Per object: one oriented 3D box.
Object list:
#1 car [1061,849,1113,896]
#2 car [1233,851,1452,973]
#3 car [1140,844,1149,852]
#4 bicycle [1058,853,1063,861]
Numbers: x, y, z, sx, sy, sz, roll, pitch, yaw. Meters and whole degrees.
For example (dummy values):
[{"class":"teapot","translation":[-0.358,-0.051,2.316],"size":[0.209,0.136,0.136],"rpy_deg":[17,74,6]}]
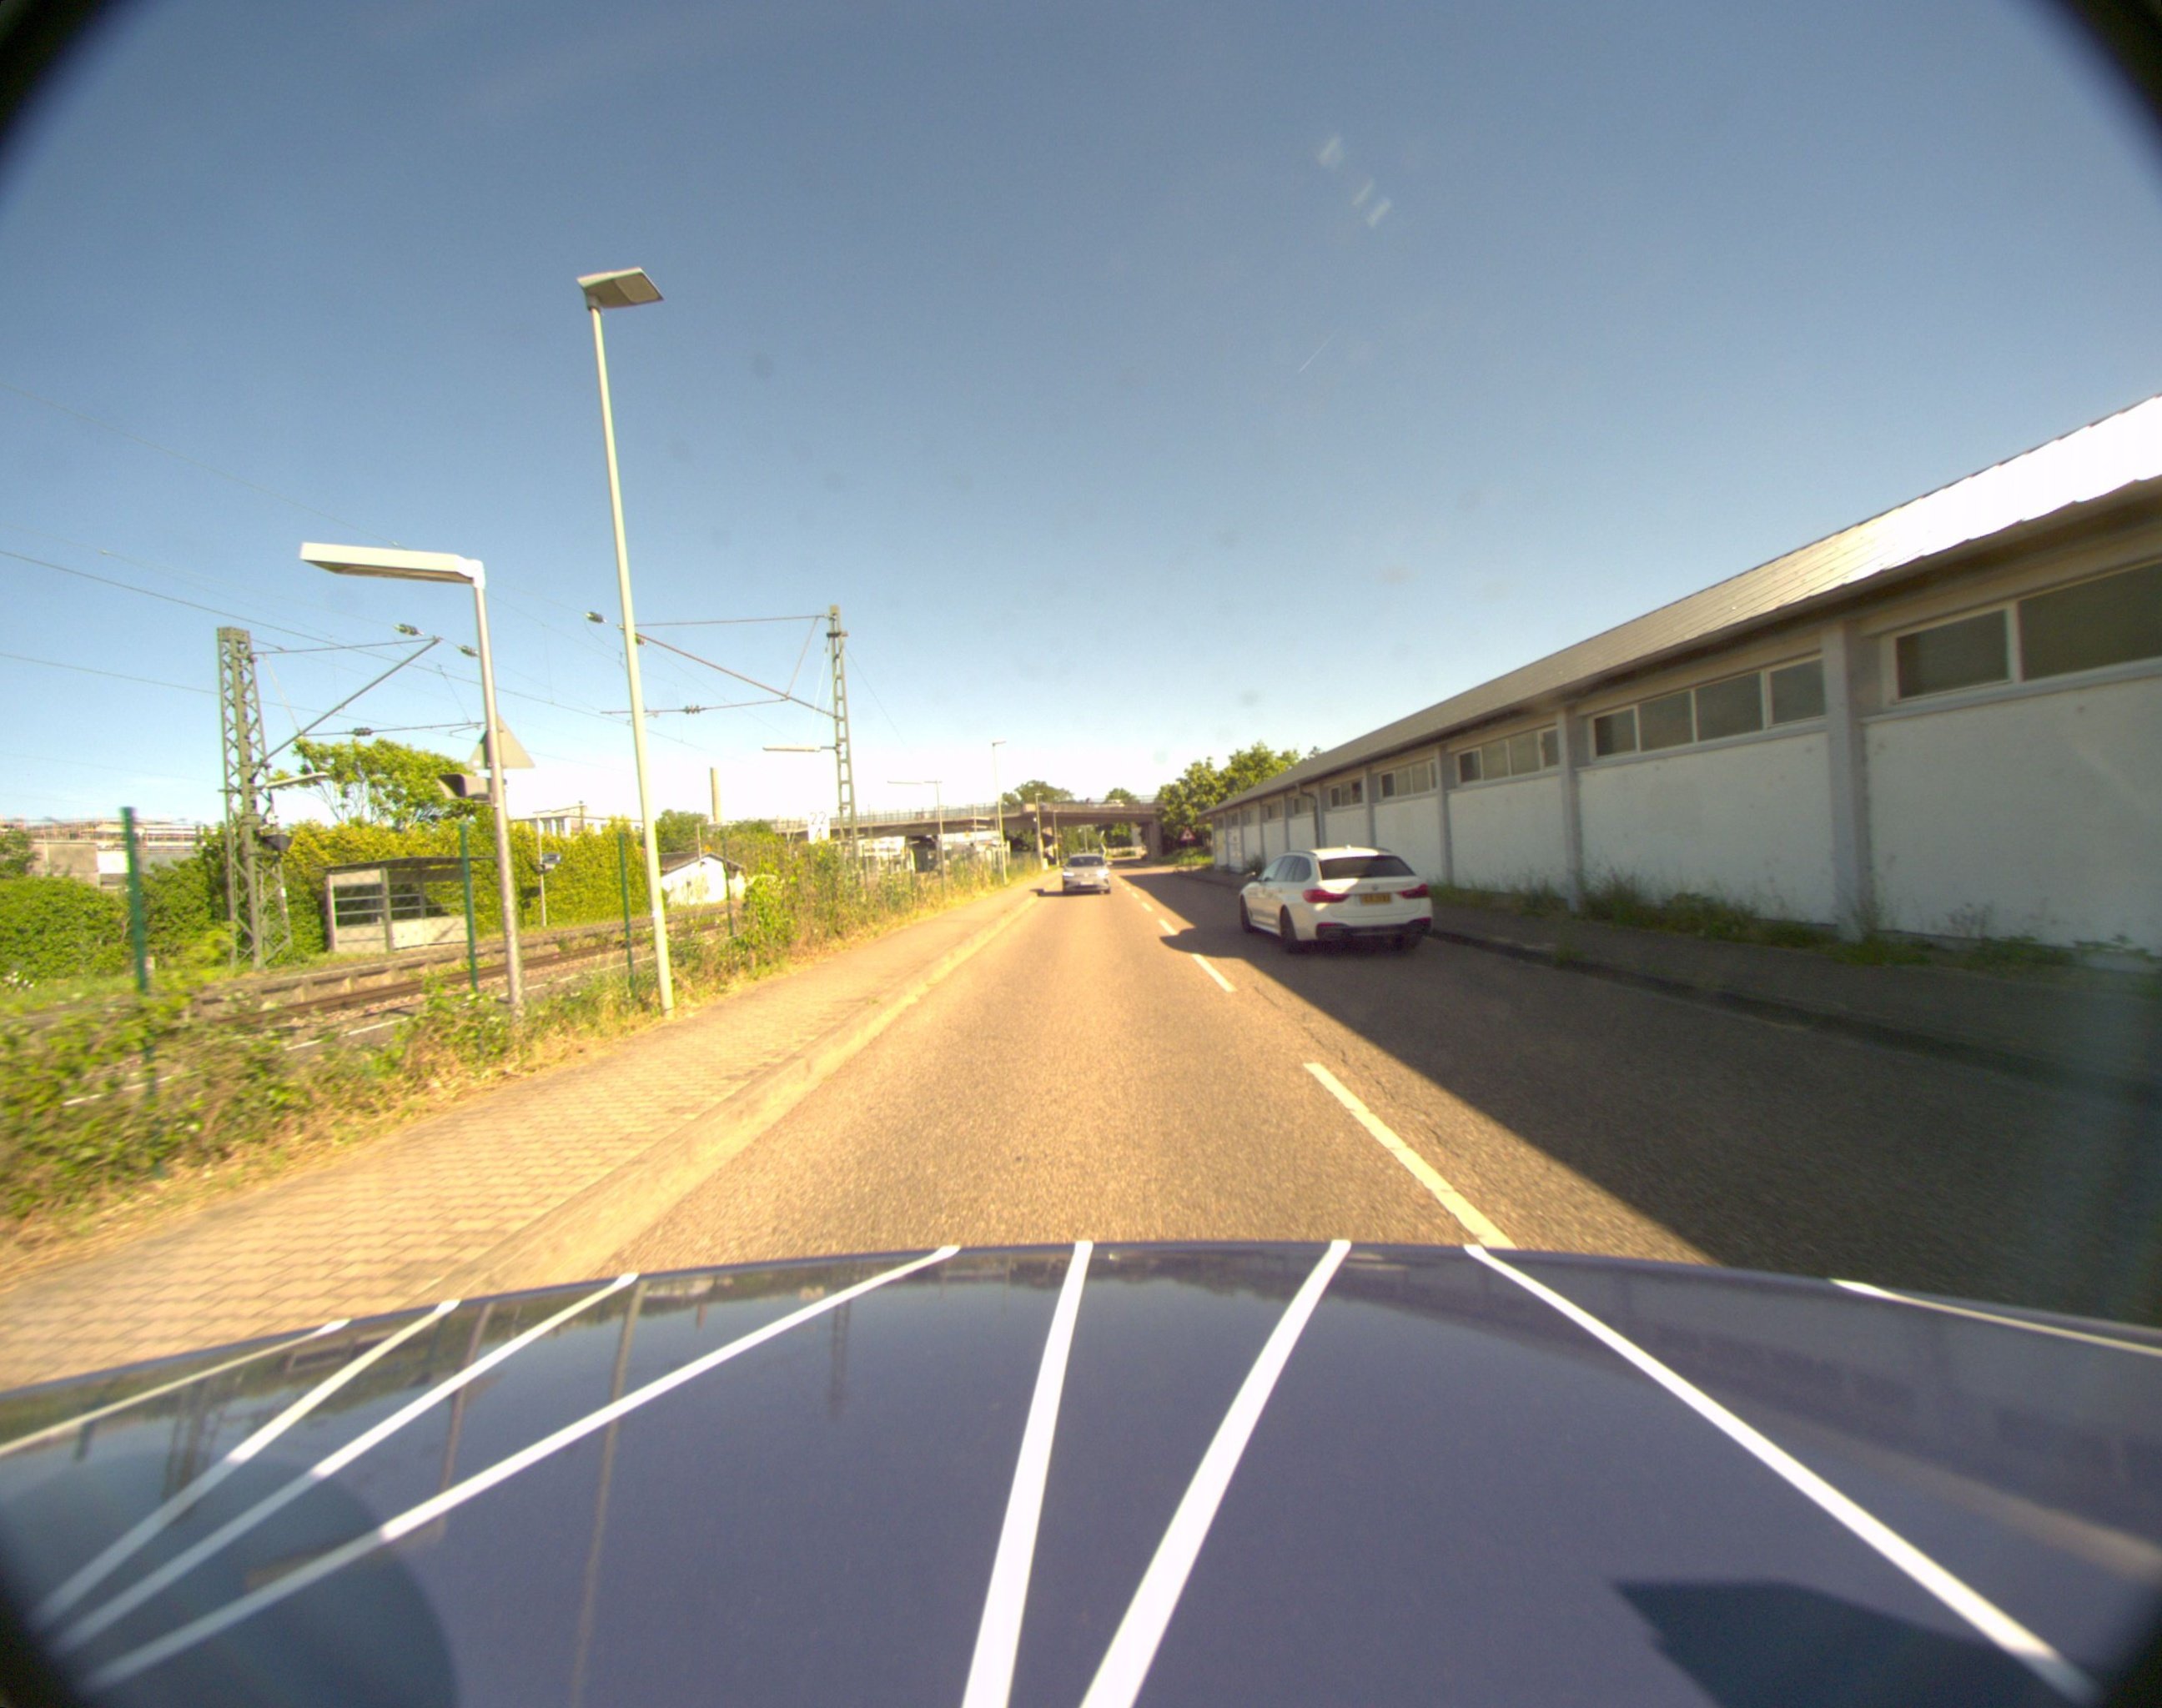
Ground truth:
[{"class":"car","translation":[0.234,0.685,30.745],"size":[1.850,1.621,4.295],"rpy_deg":[-4,1,0]},{"class":"car","translation":[3.788,0.725,11.974],"size":[1.813,1.469,4.687],"rpy_deg":[-2,0,0]},{"class":"car","translation":[15.637,-1.514,187.309],"size":[1.998,1.767,4.367],"rpy_deg":[-4,1,6]},{"class":"bicycle","translation":[-3.358,0.448,122.995],"size":[0.599,1.175,2.180],"rpy_deg":[-3,1,-4]}]
